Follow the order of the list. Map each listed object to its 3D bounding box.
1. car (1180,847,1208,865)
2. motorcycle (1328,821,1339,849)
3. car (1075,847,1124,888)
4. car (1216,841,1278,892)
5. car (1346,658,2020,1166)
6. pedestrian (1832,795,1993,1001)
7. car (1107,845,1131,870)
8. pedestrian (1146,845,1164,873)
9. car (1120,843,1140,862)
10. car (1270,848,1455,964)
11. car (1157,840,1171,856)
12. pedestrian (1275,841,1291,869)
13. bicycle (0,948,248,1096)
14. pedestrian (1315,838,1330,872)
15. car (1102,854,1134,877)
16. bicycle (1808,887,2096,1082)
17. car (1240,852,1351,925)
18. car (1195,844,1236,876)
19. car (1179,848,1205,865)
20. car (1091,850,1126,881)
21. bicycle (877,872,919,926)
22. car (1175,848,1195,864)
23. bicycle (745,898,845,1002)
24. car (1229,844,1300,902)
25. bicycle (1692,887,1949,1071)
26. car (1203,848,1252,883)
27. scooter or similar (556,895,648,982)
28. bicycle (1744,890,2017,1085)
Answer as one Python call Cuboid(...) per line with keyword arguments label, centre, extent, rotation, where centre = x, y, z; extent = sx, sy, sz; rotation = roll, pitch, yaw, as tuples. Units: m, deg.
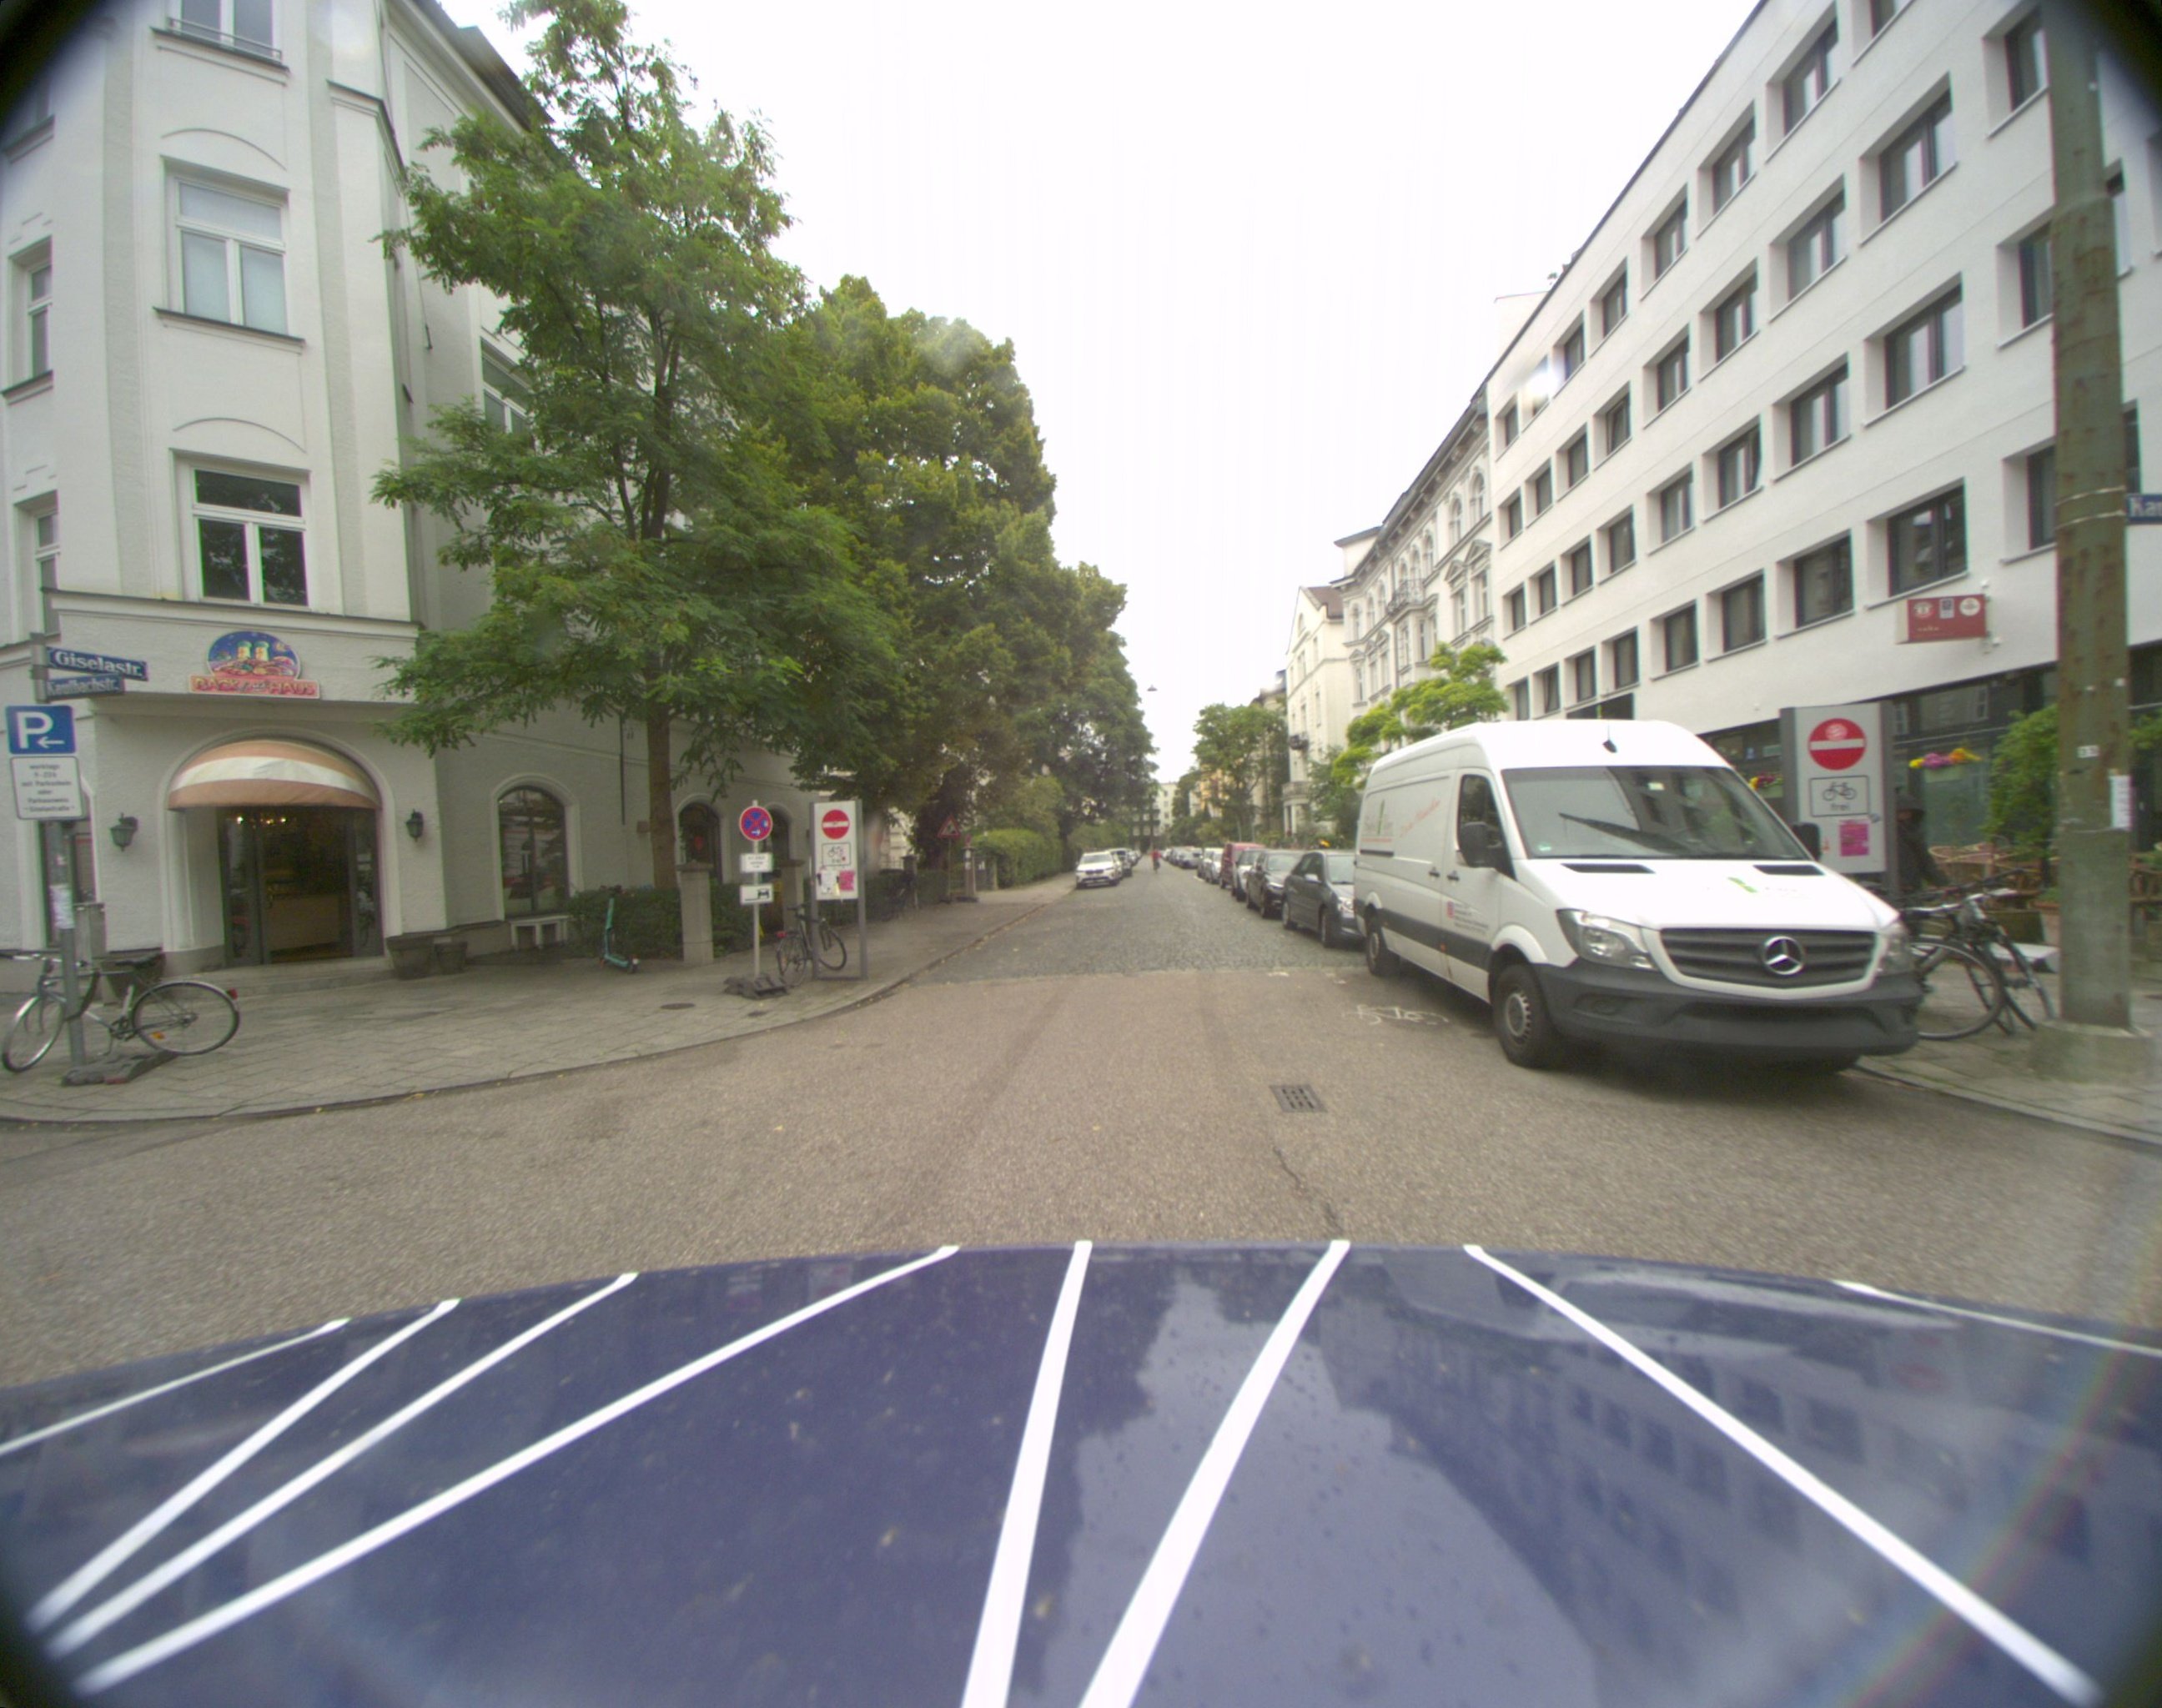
Cuboid(label="car", centre=(9.176, 0.135, 62.141), extent=(1.885, 1.411, 4.810), rotation=(-2, 0, 5))
Cuboid(label="motorcycle", centre=(10.787, -0.827, 32.489), extent=(0.331, 1.173, 1.627), rotation=(-2, 1, 21))
Cuboid(label="car", centre=(0.940, 0.607, 36.451), extent=(1.924, 1.676, 4.634), rotation=(-2, 1, 6))
Cuboid(label="car", centre=(6.077, 0.402, 28.190), extent=(1.721, 1.713, 3.899), rotation=(-1, 1, 5))
Cuboid(label="car", centre=(4.058, 0.258, 6.808), extent=(1.981, 2.559, 5.796), rotation=(-1, 1, 7))
Cuboid(label="pedestrian", centre=(7.883, 0.396, 7.238), extent=(0.615, 1.830, 0.813), rotation=(-3, 1, -1))
Cuboid(label="car", centre=(3.147, 0.250, 62.019), extent=(1.818, 1.809, 4.809), rotation=(-2, 1, 4))
Cuboid(label="pedestrian", centre=(5.036, 0.332, 51.488), extent=(1.105, 1.768, 1.263), rotation=(-3, 1, 6))
Cuboid(label="car", centre=(5.723, -0.164, 88.466), extent=(1.998, 2.002, 4.001), rotation=(-3, 1, 6))
Cuboid(label="car", centre=(4.345, 0.702, 12.375), extent=(1.665, 1.474, 3.982), rotation=(-3, 1, 3))
Cuboid(label="car", centre=(11.574, -0.839, 105.885), extent=(1.762, 2.002, 4.001), rotation=(-3, 1, 6))
Cuboid(label="pedestrian", centre=(12.148, 0.053, 45.697), extent=(0.665, 1.618, 0.670), rotation=(-2, 2, 37))
Cuboid(label="bicycle", centre=(-8.498, 1.433, 6.667), extent=(1.604, 1.064, 0.739), rotation=(-1, 5, 8))
Cuboid(label="pedestrian", centre=(11.623, 0.052, 36.567), extent=(0.577, 1.637, 0.822), rotation=(-1, 1, 12))
Cuboid(label="car", centre=(2.397, 0.705, 48.819), extent=(1.923, 1.291, 4.809), rotation=(-3, 1, 3))
Cuboid(label="bicycle", centre=(6.333, 0.865, 5.664), extent=(0.256, 1.120, 1.731), rotation=(-3, 1, 4))
Cuboid(label="car", centre=(4.834, 0.694, 17.721), extent=(1.729, 1.456, 4.474), rotation=(0, 1, 6))
Cuboid(label="car", centre=(7.125, 0.275, 40.566), extent=(1.693, 1.563, 4.068), rotation=(-3, 1, 4))
Cuboid(label="car", centre=(9.802, 0.228, 67.223), extent=(1.998, 1.324, 4.001), rotation=(-3, 0, 6))
Cuboid(label="car", centre=(1.645, 0.613, 43.777), extent=(1.751, 1.591, 4.473), rotation=(-3, 1, 5))
Cuboid(label="bicycle", centre=(-4.575, 1.102, 19.104), extent=(0.428, 1.191, 1.731), rotation=(3, 2, 6))
Cuboid(label="car", centre=(10.136, 0.160, 74.458), extent=(1.713, 1.416, 4.001), rotation=(-3, 1, 6))
Cuboid(label="bicycle", centre=(-3.741, 1.224, 10.081), extent=(0.389, 1.140, 1.590), rotation=(-2, 1, 12))
Cuboid(label="car", centre=(5.393, 0.507, 22.718), extent=(1.696, 1.495, 3.779), rotation=(-3, 1, 9))
Cuboid(label="bicycle", centre=(5.498, 0.851, 5.805), extent=(0.286, 1.085, 1.816), rotation=(-2, 1, 4))
Cuboid(label="car", centre=(6.581, 0.496, 34.469), extent=(1.635, 1.386, 3.816), rotation=(-3, 1, 4))
Cuboid(label="scooter or similar", centre=(-7.199, 1.236, 11.403), extent=(1.603, 1.166, 0.405), rotation=(1, 3, 28))
Cuboid(label="bicycle", centre=(5.879, 0.895, 5.740), extent=(0.256, 1.120, 1.807), rotation=(-3, 1, 4))
